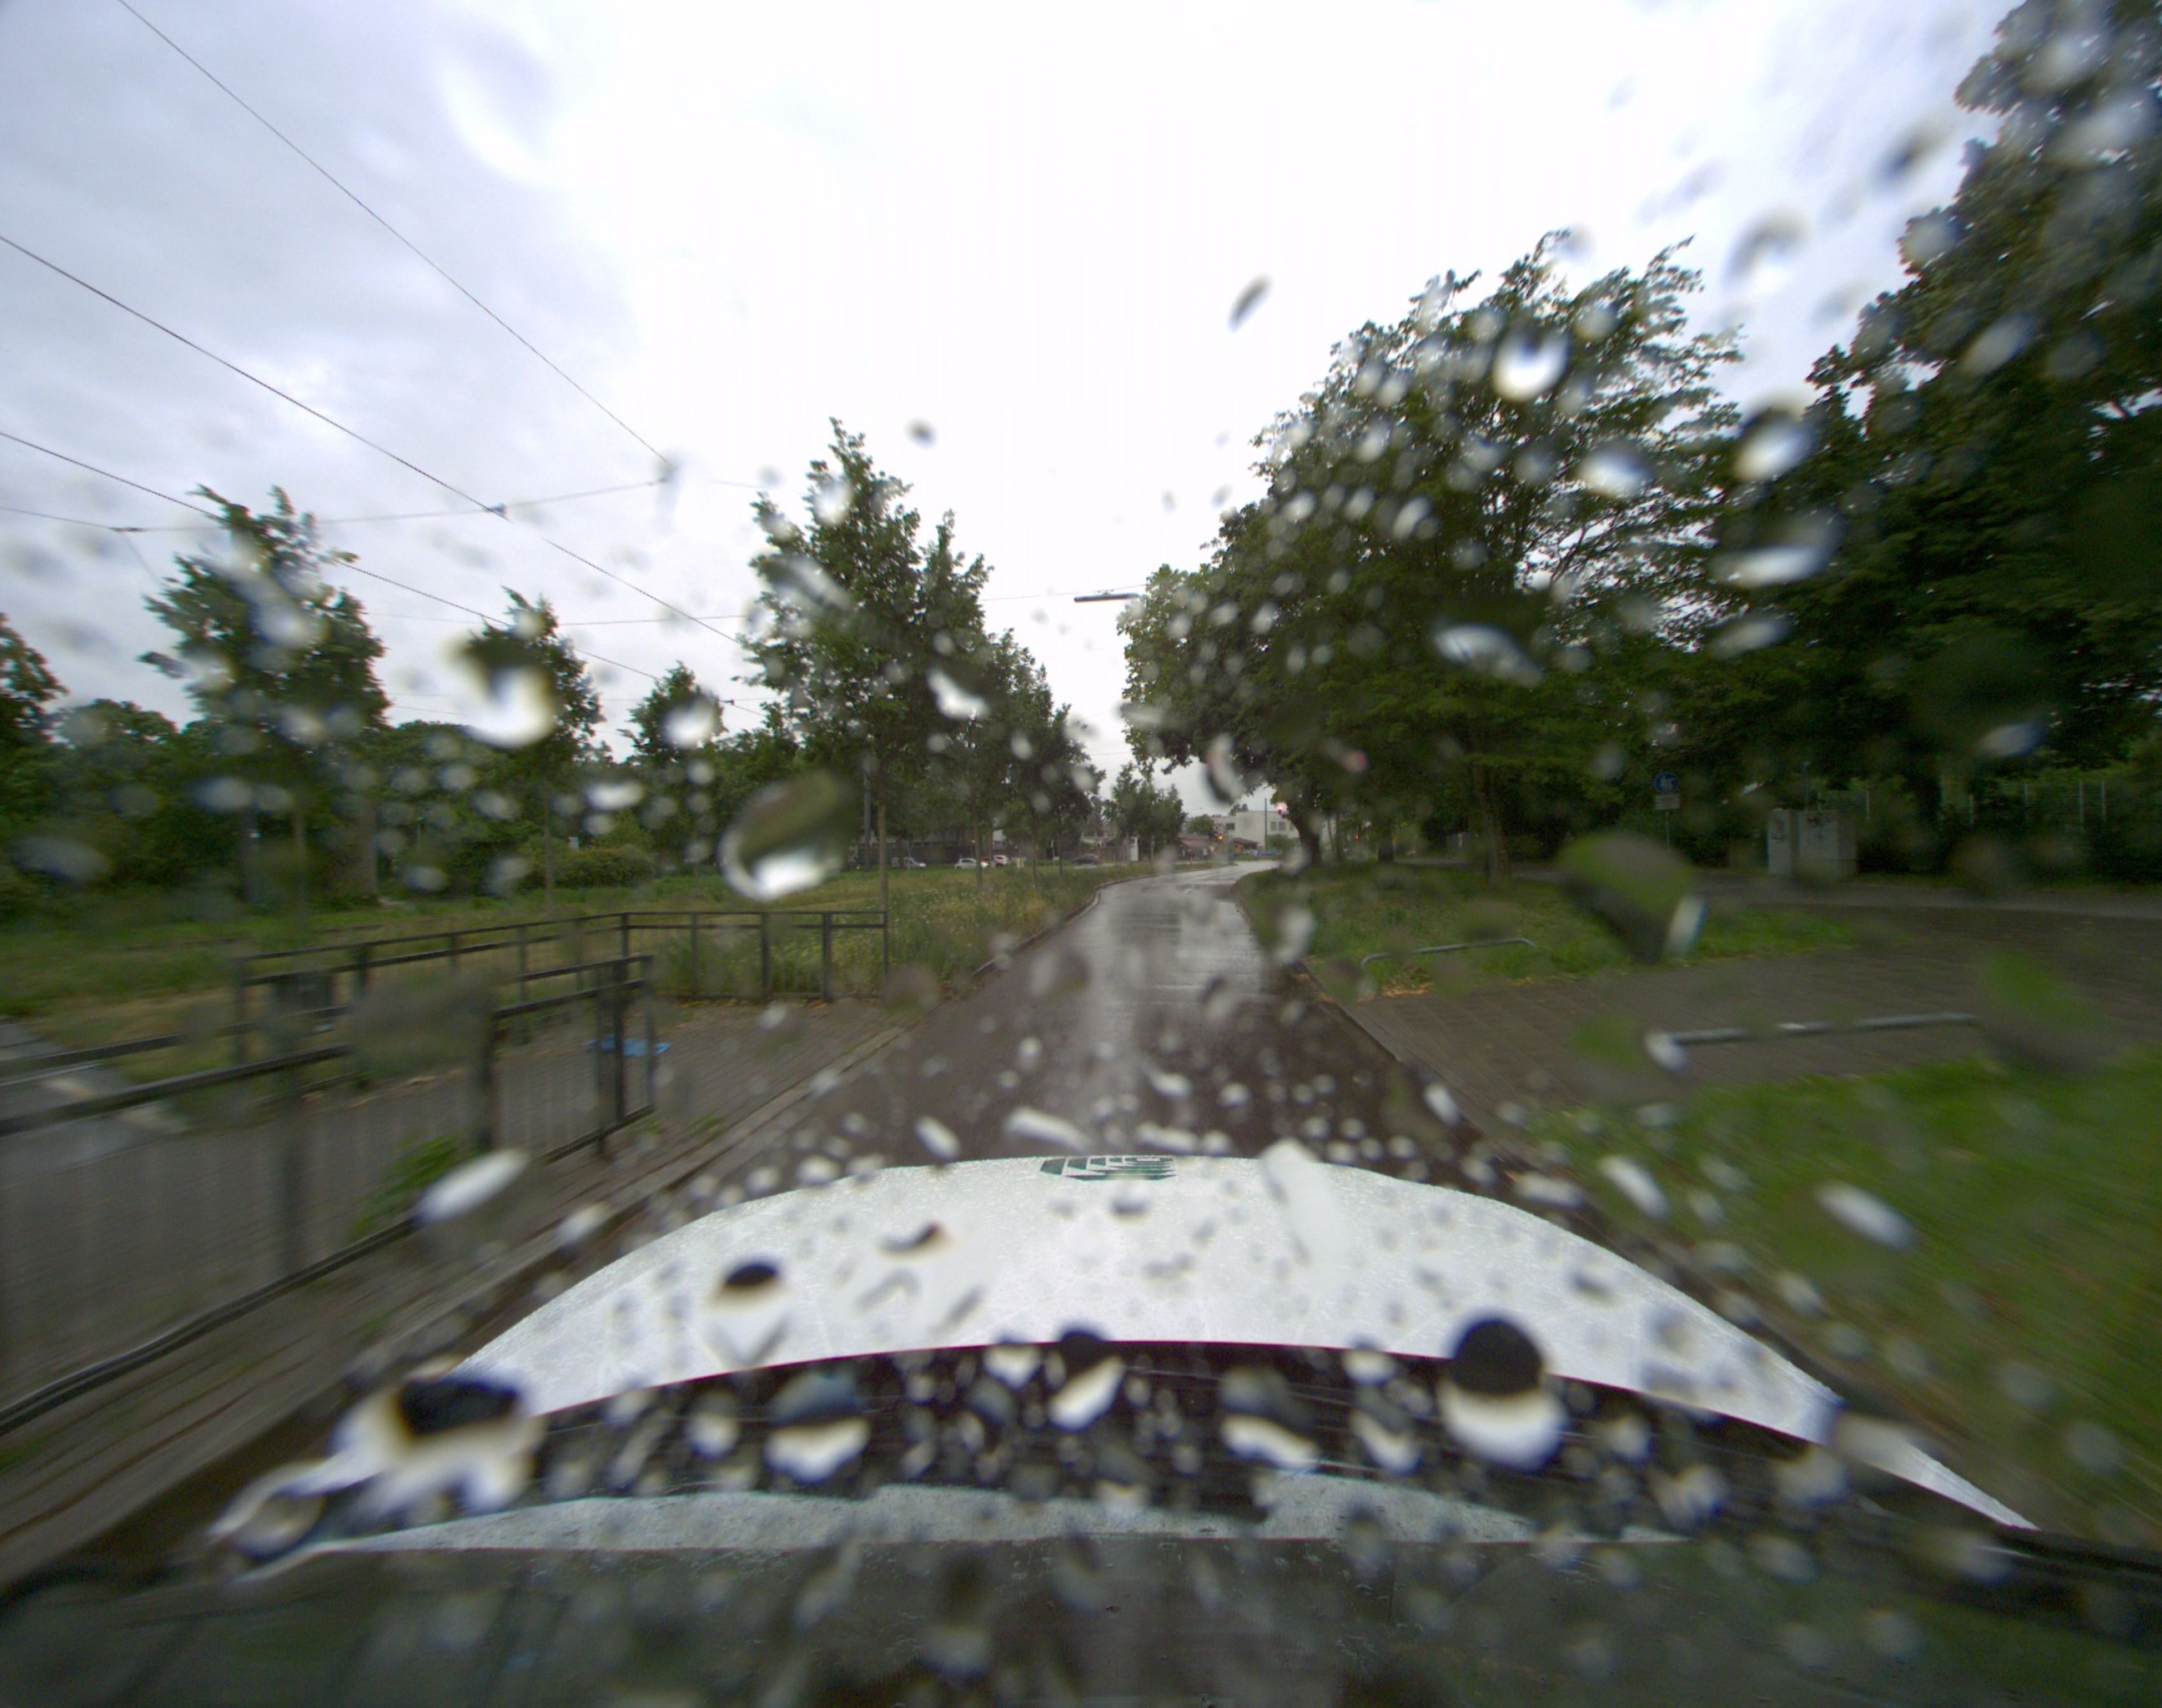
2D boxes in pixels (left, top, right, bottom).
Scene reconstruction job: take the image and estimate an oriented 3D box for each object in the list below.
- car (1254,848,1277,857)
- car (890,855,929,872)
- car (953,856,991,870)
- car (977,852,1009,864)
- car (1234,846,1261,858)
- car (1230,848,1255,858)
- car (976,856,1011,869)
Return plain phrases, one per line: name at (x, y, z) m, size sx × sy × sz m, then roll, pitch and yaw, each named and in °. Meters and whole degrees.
car at (31.985, -0.312, 140.886) m, size 3.723 × 1.442 × 1.769 m, roll -2°, pitch 0°, yaw 14°
car at (-20.499, 1.107, 97.202) m, size 4.187 × 1.796 × 1.655 m, roll -2°, pitch 1°, yaw 7°
car at (-12.800, 1.068, 95.761) m, size 4.041 × 1.499 × 1.656 m, roll -2°, pitch -1°, yaw 9°
car at (-11.700, 0.508, 108.191) m, size 3.967 × 1.420 × 1.541 m, roll -2°, pitch 0°, yaw 6°
car at (27.964, -0.318, 137.069) m, size 4.096 × 1.860 × 1.683 m, roll -2°, pitch -1°, yaw 27°
car at (26.608, -0.170, 133.876) m, size 3.716 × 1.442 × 1.772 m, roll -2°, pitch 0°, yaw 23°
car at (-10.666, 1.046, 99.311) m, size 3.795 × 1.499 × 1.656 m, roll -2°, pitch -1°, yaw 9°
